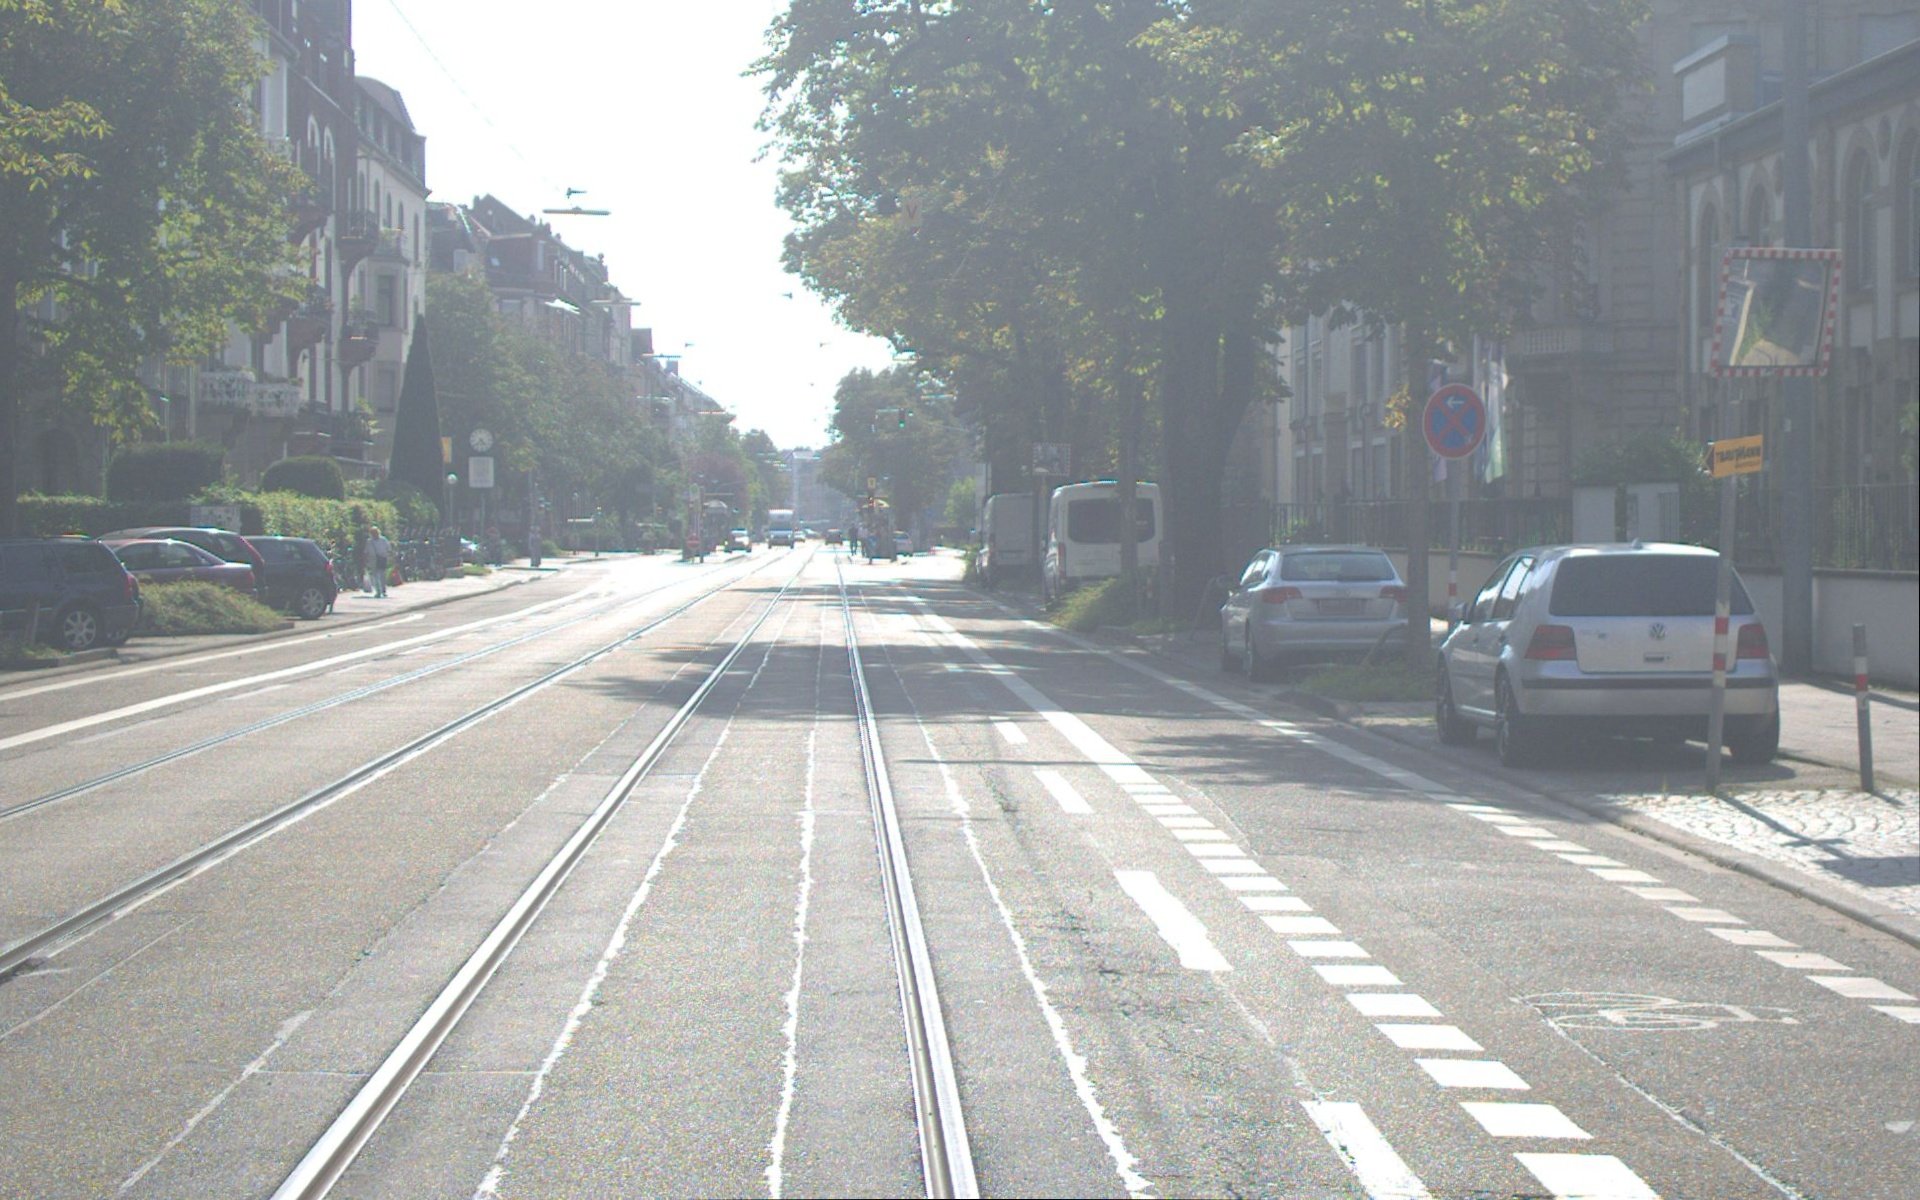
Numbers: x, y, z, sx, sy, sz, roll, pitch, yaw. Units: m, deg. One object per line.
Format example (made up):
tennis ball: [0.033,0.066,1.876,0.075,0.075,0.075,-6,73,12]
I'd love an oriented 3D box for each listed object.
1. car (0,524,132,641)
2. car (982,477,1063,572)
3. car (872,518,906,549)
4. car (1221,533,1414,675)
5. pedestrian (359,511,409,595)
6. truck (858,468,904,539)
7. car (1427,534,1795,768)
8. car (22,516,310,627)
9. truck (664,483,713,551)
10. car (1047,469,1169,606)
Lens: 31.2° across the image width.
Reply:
car: [-12.136,-0.224,41.894,1.569,1.401,3.754,1,2,42]
car: [1.636,-2.016,91.494,2.004,2.466,4.477,0,1,-1]
car: [-4.218,-3.958,204.135,1.993,1.831,4.000,0,1,-1]
car: [3.747,0.005,36.502,1.594,1.413,3.635,0,1,-1]
pedestrian: [-12.094,-0.984,72.140,0.961,1.754,0.661,0,1,-3]
truck: [-3.531,-4.301,153.230,1.860,3.120,4.353,0,1,-4]
car: [4.242,0.277,22.920,1.689,1.413,3.635,0,1,-1]
car: [-12.112,-0.456,52.474,3.986,1.634,1.691,0,1,-28]
truck: [-12.073,-3.690,152.907,1.993,2.965,4.571,0,1,-2]
car: [2.742,-1.193,64.680,2.004,2.482,4.477,0,1,-1]
